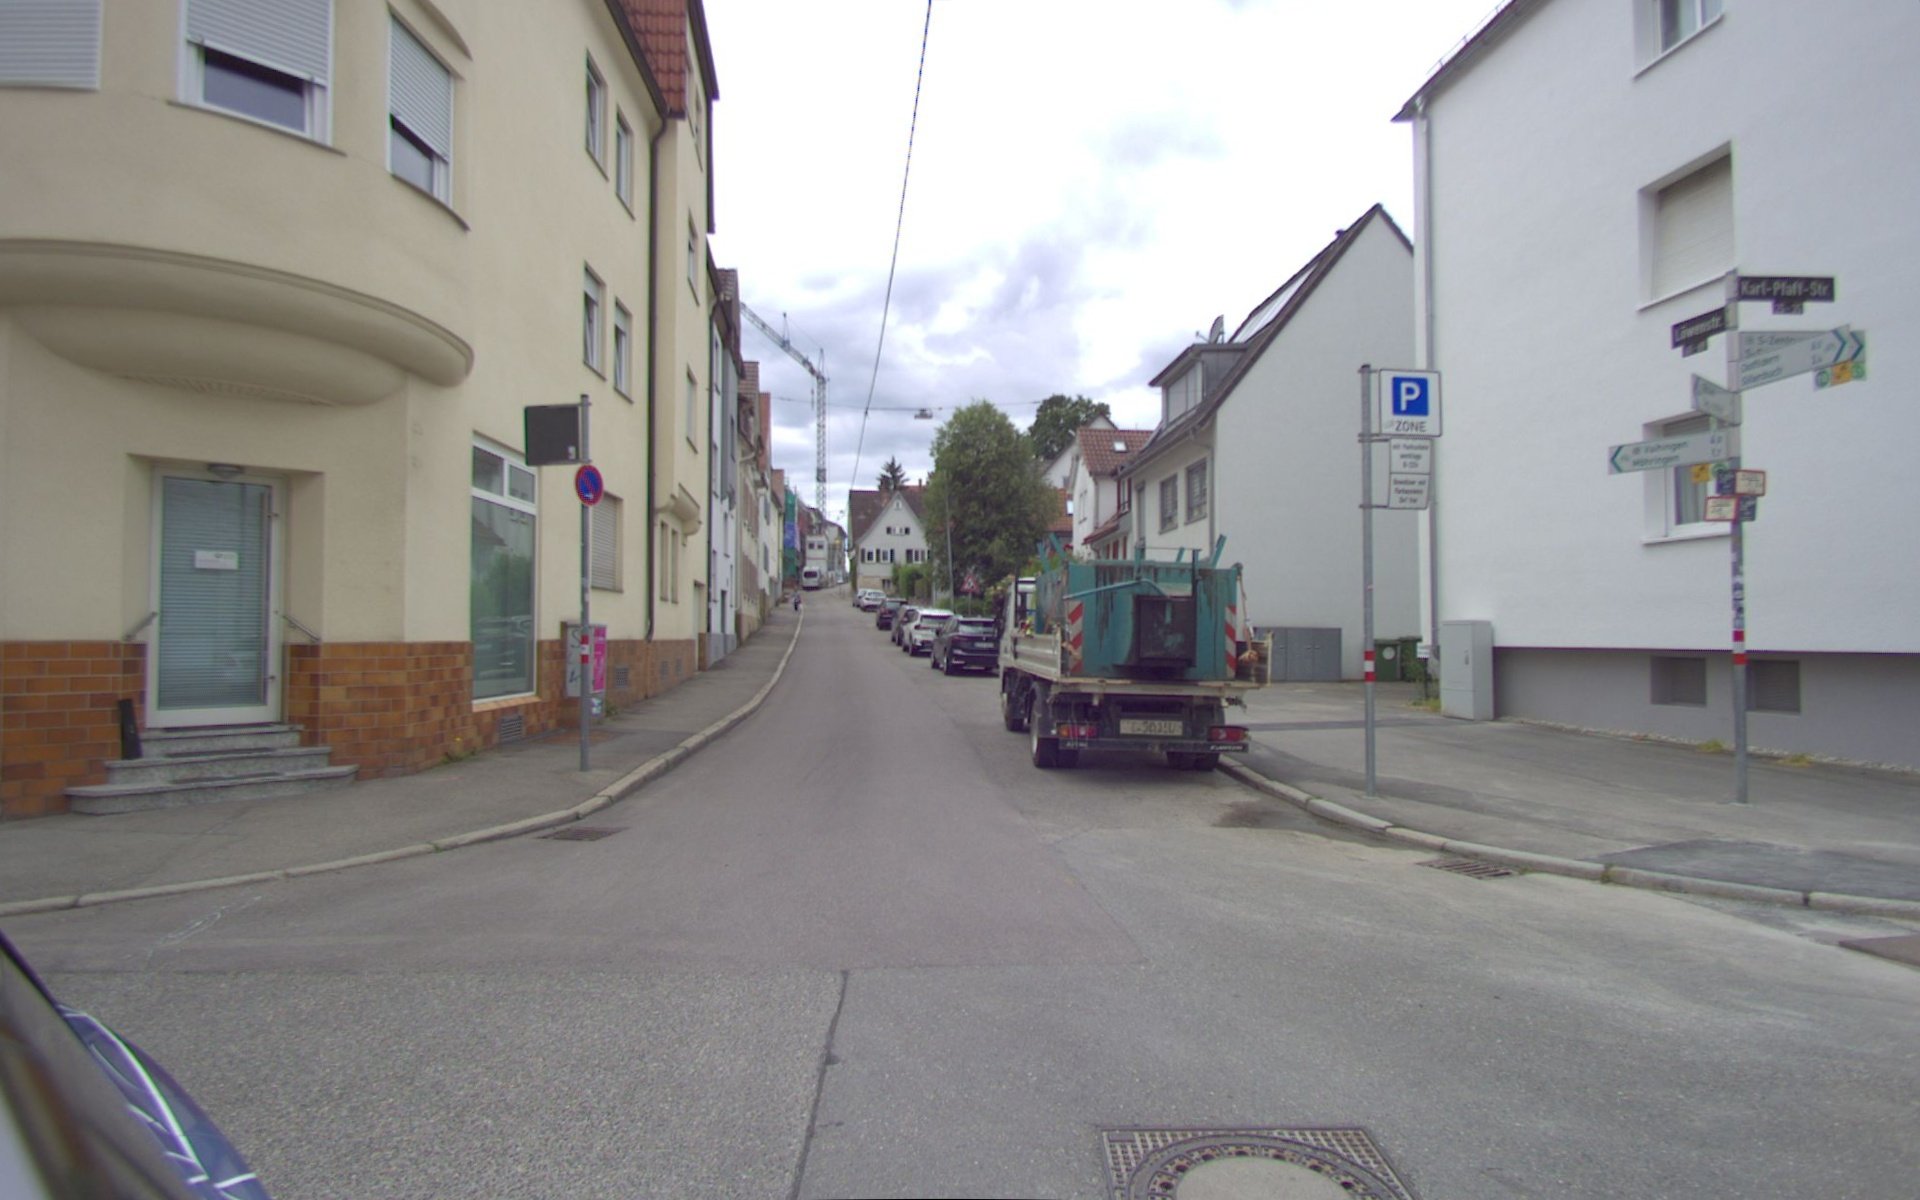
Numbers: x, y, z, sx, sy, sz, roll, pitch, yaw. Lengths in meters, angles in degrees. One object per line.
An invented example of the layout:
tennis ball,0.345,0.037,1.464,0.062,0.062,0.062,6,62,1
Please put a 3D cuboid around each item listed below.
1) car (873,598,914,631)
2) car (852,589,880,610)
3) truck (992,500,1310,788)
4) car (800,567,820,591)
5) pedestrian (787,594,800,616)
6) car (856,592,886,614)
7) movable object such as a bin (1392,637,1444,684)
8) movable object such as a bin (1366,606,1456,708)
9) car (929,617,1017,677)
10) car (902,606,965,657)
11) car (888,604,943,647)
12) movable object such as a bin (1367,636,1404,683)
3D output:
car,-3.578,0.735,53.917,1.826,1.663,3.954,1,0,-9
car,-7.308,-0.090,78.343,1.826,1.460,3.954,1,2,-9
truck,1.847,0.506,12.322,2.283,2.571,6.292,1,-2,-4
car,-17.230,-2.406,116.042,2.160,2.665,5.837,1,1,-9
pedestrian,-11.326,0.333,68.830,0.743,1.500,0.568,0,-1,-21
car,-6.405,0.183,72.219,1.826,1.460,3.954,1,0,-9
movable object such as a bin,10.667,1.400,23.590,0.847,1.064,0.890,1,-2,5
movable object such as a bin,7.425,0.928,16.718,0.996,1.630,1.002,0,-1,-3
car,0.280,1.222,27.335,1.827,1.474,3.952,1,-1,-7
car,-0.995,1.101,35.992,1.827,1.663,3.952,1,-1,-7
car,-1.897,1.017,42.441,1.826,1.663,3.954,1,0,-9
movable object such as a bin,9.927,1.389,23.641,0.561,1.064,0.813,1,-2,5
